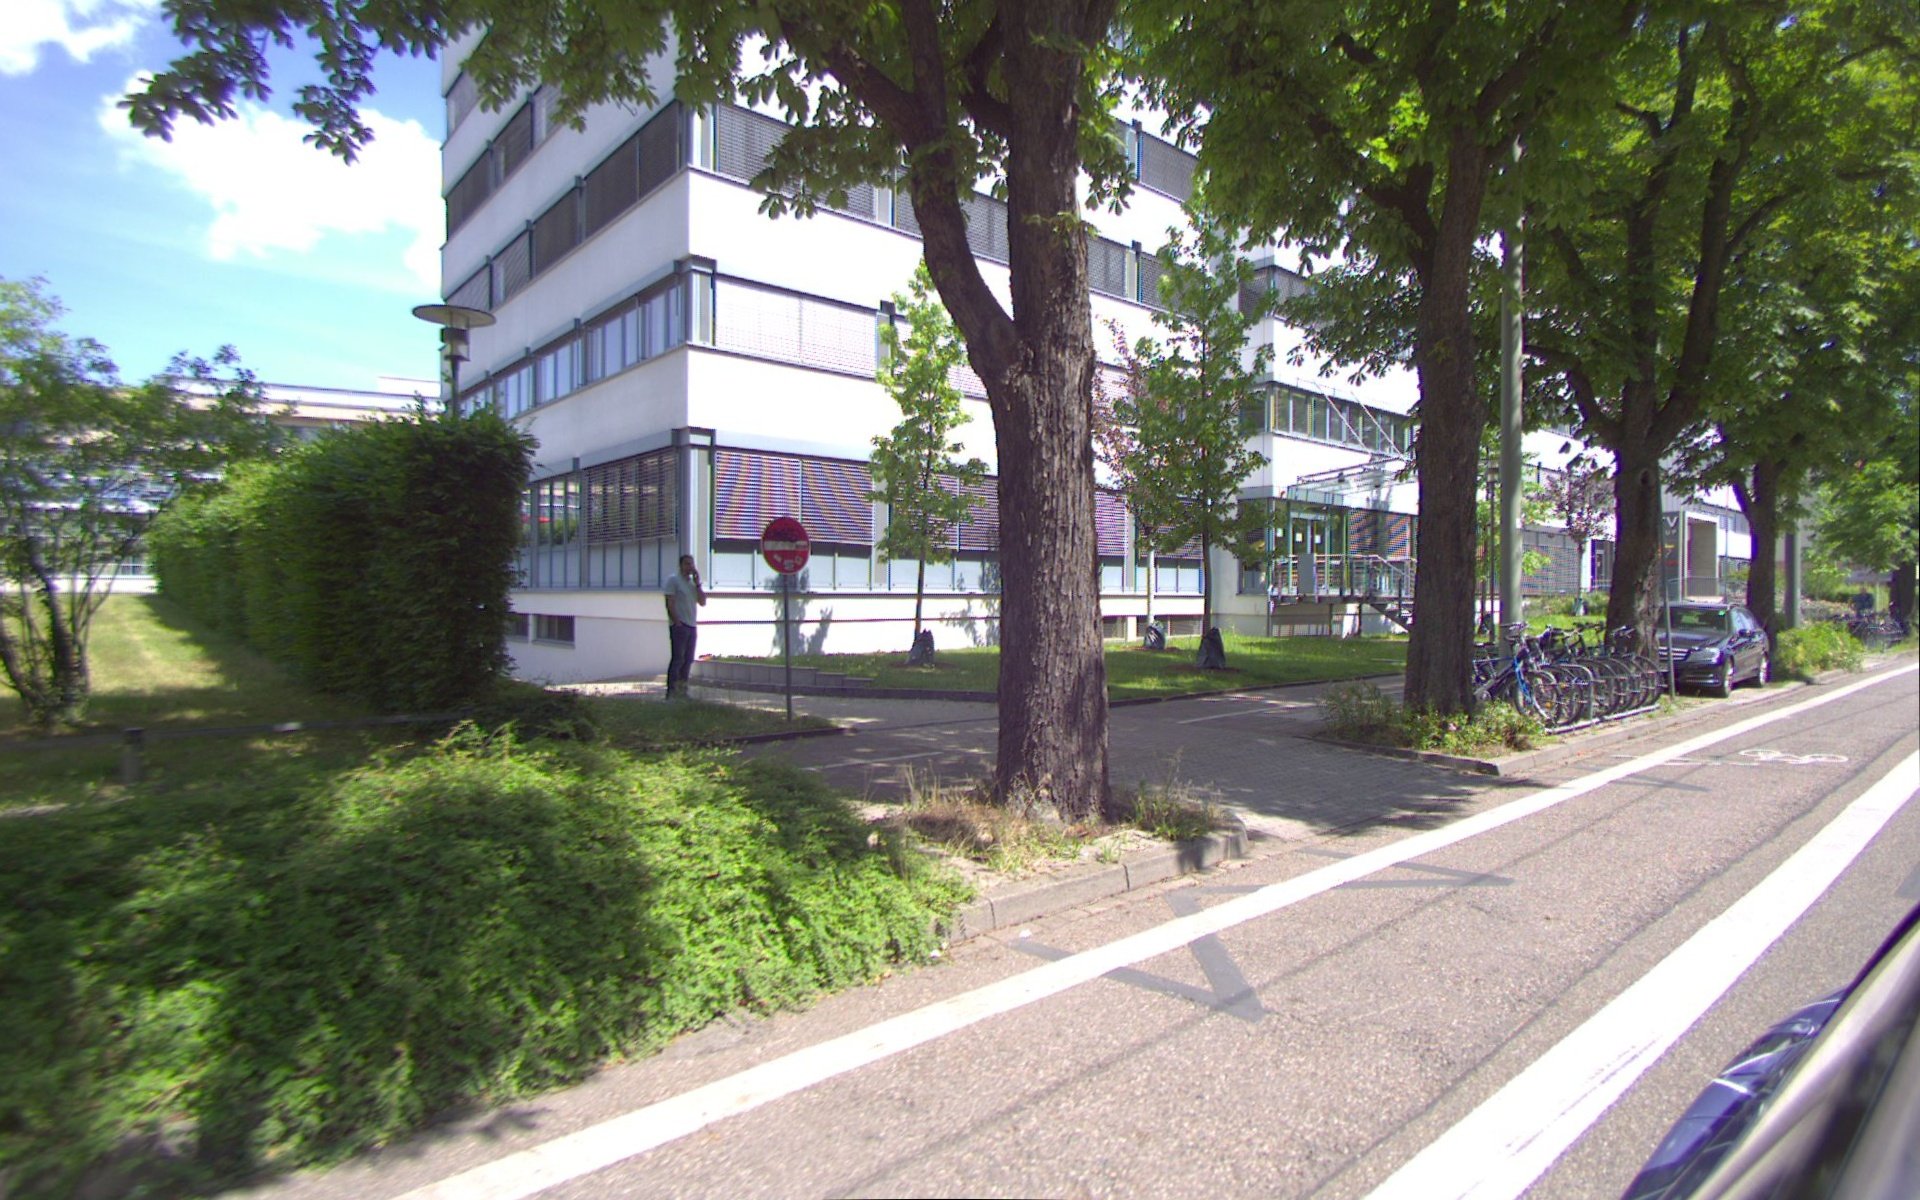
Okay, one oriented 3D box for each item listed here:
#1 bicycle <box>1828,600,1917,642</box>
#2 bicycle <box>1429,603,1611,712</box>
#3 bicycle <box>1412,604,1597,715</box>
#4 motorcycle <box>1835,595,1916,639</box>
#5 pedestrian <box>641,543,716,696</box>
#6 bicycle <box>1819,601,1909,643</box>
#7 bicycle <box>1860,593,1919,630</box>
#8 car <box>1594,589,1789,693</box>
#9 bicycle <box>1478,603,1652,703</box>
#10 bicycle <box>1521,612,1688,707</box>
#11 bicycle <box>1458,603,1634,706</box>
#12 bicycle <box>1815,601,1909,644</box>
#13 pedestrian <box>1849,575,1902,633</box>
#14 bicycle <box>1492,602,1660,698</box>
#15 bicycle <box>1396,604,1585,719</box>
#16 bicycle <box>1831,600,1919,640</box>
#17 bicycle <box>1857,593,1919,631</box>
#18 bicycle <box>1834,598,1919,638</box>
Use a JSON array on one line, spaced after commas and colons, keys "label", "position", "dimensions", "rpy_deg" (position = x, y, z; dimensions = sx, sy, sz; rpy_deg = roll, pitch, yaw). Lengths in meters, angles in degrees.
[{"label": "bicycle", "position": [25.590, 0.587, 28.397], "dimensions": [0.560, 1.125, 1.809], "rpy_deg": [0, -1, -43]}, {"label": "bicycle", "position": [6.469, 0.626, 11.769], "dimensions": [0.388, 1.125, 1.810], "rpy_deg": [0, 2, -43]}, {"label": "bicycle", "position": [6.155, 0.635, 11.532], "dimensions": [0.388, 1.125, 1.810], "rpy_deg": [0, 2, -43]}, {"label": "motorcycle", "position": [27.880, 0.491, 30.854], "dimensions": [1.813, 1.293, 0.710], "rpy_deg": [1, 0, 43]}, {"label": "pedestrian", "position": [-3.371, 0.211, 12.135], "dimensions": [0.647, 1.770, 0.626], "rpy_deg": [1, 1, 13]}, {"label": "bicycle", "position": [25.050, 0.608, 28.064], "dimensions": [0.560, 1.125, 1.809], "rpy_deg": [0, -1, -43]}, {"label": "bicycle", "position": [30.531, 0.365, 32.959], "dimensions": [1.813, 1.179, 0.700], "rpy_deg": [1, 1, 43]}, {"label": "car", "position": [12.349, 0.582, 16.966], "dimensions": [4.554, 1.485, 1.679], "rpy_deg": [0, 2, -42]}, {"label": "bicycle", "position": [7.598, 0.629, 12.762], "dimensions": [1.806, 1.125, 0.525], "rpy_deg": [2, 2, 41]}, {"label": "bicycle", "position": [8.577, 0.759, 13.539], "dimensions": [0.505, 1.125, 1.809], "rpy_deg": [0, 2, -43]}, {"label": "bicycle", "position": [7.114, 0.624, 12.335], "dimensions": [1.803, 1.125, 0.483], "rpy_deg": [2, 1, 37]}, {"label": "bicycle", "position": [24.578, 0.620, 27.595], "dimensions": [0.560, 1.125, 1.842], "rpy_deg": [0, -1, -43]}, {"label": "pedestrian", "position": [29.719, 0.131, 32.859], "dimensions": [0.967, 1.856, 0.787], "rpy_deg": [0, 0, 6]}, {"label": "bicycle", "position": [8.011, 0.620, 13.216], "dimensions": [1.806, 1.125, 0.528], "rpy_deg": [2, 2, 41]}, {"label": "bicycle", "position": [5.843, 0.638, 11.245], "dimensions": [0.442, 1.125, 1.810], "rpy_deg": [0, 2, -43]}, {"label": "bicycle", "position": [26.007, 0.568, 28.786], "dimensions": [0.560, 1.125, 1.809], "rpy_deg": [0, -1, -43]}, {"label": "bicycle", "position": [29.624, 0.376, 32.044], "dimensions": [1.813, 1.179, 0.700], "rpy_deg": [1, 1, 43]}, {"label": "bicycle", "position": [26.807, 0.536, 29.617], "dimensions": [0.560, 1.125, 1.809], "rpy_deg": [0, -1, -43]}]
